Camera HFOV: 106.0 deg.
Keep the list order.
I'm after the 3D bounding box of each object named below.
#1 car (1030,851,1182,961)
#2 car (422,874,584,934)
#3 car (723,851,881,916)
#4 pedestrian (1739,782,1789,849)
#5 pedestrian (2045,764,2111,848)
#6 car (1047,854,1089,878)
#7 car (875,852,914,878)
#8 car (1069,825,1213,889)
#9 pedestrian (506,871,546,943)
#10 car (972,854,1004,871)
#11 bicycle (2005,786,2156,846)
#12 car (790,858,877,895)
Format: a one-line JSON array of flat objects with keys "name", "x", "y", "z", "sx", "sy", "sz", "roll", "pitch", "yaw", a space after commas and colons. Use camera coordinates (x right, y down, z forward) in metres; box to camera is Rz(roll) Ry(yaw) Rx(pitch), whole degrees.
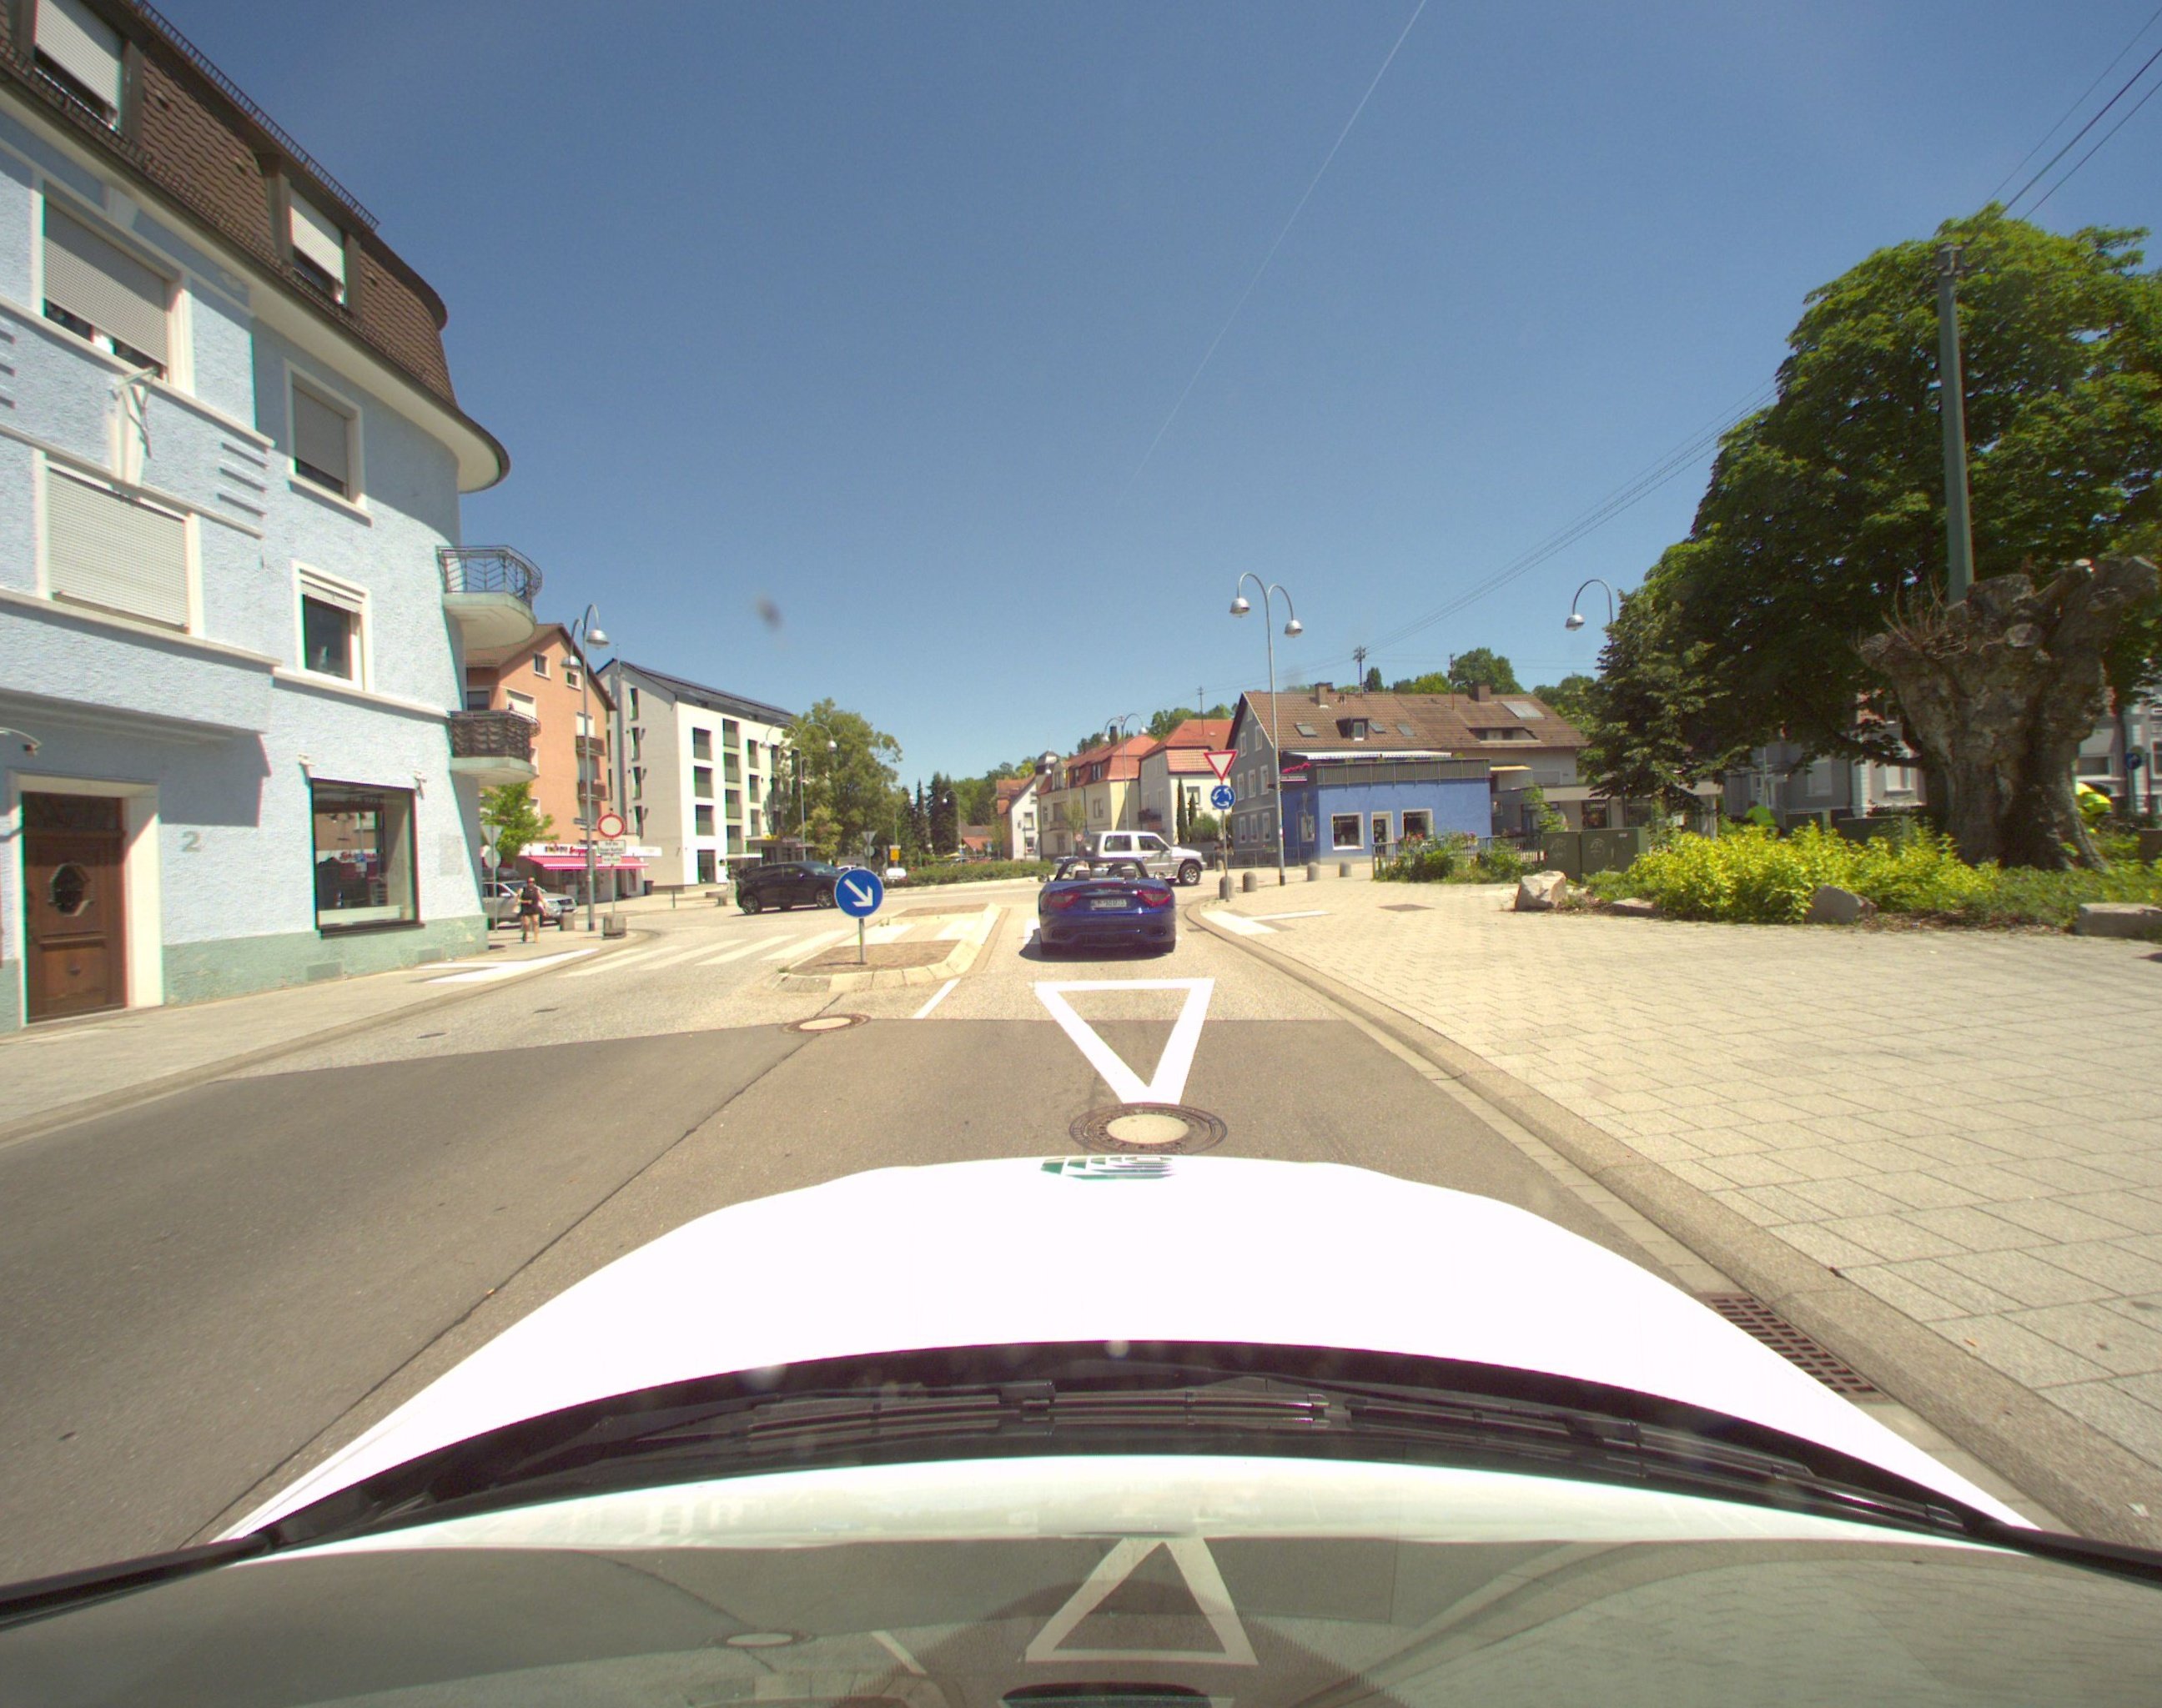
[{"name": "car", "x": 0.401, "y": 0.669, "z": 12.572, "sx": 1.903, "sy": 1.360, "sz": 4.287, "roll": -2, "pitch": 0, "yaw": 2}, {"name": "car", "x": -19.933, "y": 1.694, "z": 28.209, "sx": 4.174, "sy": 1.688, "sz": 1.838, "roll": -3, "pitch": 2, "yaw": 0}, {"name": "car", "x": -8.599, "y": 0.899, "z": 25.207, "sx": 4.215, "sy": 1.546, "sz": 1.820, "roll": -5, "pitch": 1, "yaw": 17}, {"name": "pedestrian", "x": 19.146, "y": -1.063, "z": 22.845, "sx": 0.732, "sy": 1.799, "sz": 0.682, "roll": -4, "pitch": 0, "yaw": 9}, {"name": "pedestrian", "x": 20.264, "y": -0.967, "z": 16.560, "sx": 0.750, "sy": 1.632, "sz": 0.711, "roll": -3, "pitch": 0, "yaw": -33}, {"name": "car", "x": -0.998, "y": 0.905, "z": 61.101, "sx": 1.924, "sy": 1.613, "sz": 4.120, "roll": -3, "pitch": -1, "yaw": -19}, {"name": "car", "x": -12.488, "y": 0.726, "z": 54.663, "sx": 1.992, "sy": 1.509, "sz": 3.990, "roll": -7, "pitch": 0, "yaw": -7}, {"name": "car", "x": 1.883, "y": 0.035, "z": 25.882, "sx": 4.228, "sy": 1.874, "sz": 1.753, "roll": -1, "pitch": 2, "yaw": -18}, {"name": "pedestrian", "x": -12.581, "y": 1.193, "z": 18.461, "sx": 0.508, "sy": 1.585, "sz": 0.550, "roll": -4, "pitch": 0, "yaw": 42}, {"name": "car", "x": -10.102, "y": 0.939, "z": 88.240, "sx": 1.862, "sy": 1.588, "sz": 3.961, "roll": -4, "pitch": 0, "yaw": -30}, {"name": "bicycle", "x": 20.255, "y": -0.758, "z": 16.550, "sx": 0.750, "sy": 1.083, "sz": 1.830, "roll": -3, "pitch": 0, "yaw": -33}, {"name": "car", "x": -11.378, "y": 1.021, "z": 37.573, "sx": 1.560, "sy": 1.450, "sz": 3.492, "roll": -4, "pitch": 0, "yaw": 43}]
